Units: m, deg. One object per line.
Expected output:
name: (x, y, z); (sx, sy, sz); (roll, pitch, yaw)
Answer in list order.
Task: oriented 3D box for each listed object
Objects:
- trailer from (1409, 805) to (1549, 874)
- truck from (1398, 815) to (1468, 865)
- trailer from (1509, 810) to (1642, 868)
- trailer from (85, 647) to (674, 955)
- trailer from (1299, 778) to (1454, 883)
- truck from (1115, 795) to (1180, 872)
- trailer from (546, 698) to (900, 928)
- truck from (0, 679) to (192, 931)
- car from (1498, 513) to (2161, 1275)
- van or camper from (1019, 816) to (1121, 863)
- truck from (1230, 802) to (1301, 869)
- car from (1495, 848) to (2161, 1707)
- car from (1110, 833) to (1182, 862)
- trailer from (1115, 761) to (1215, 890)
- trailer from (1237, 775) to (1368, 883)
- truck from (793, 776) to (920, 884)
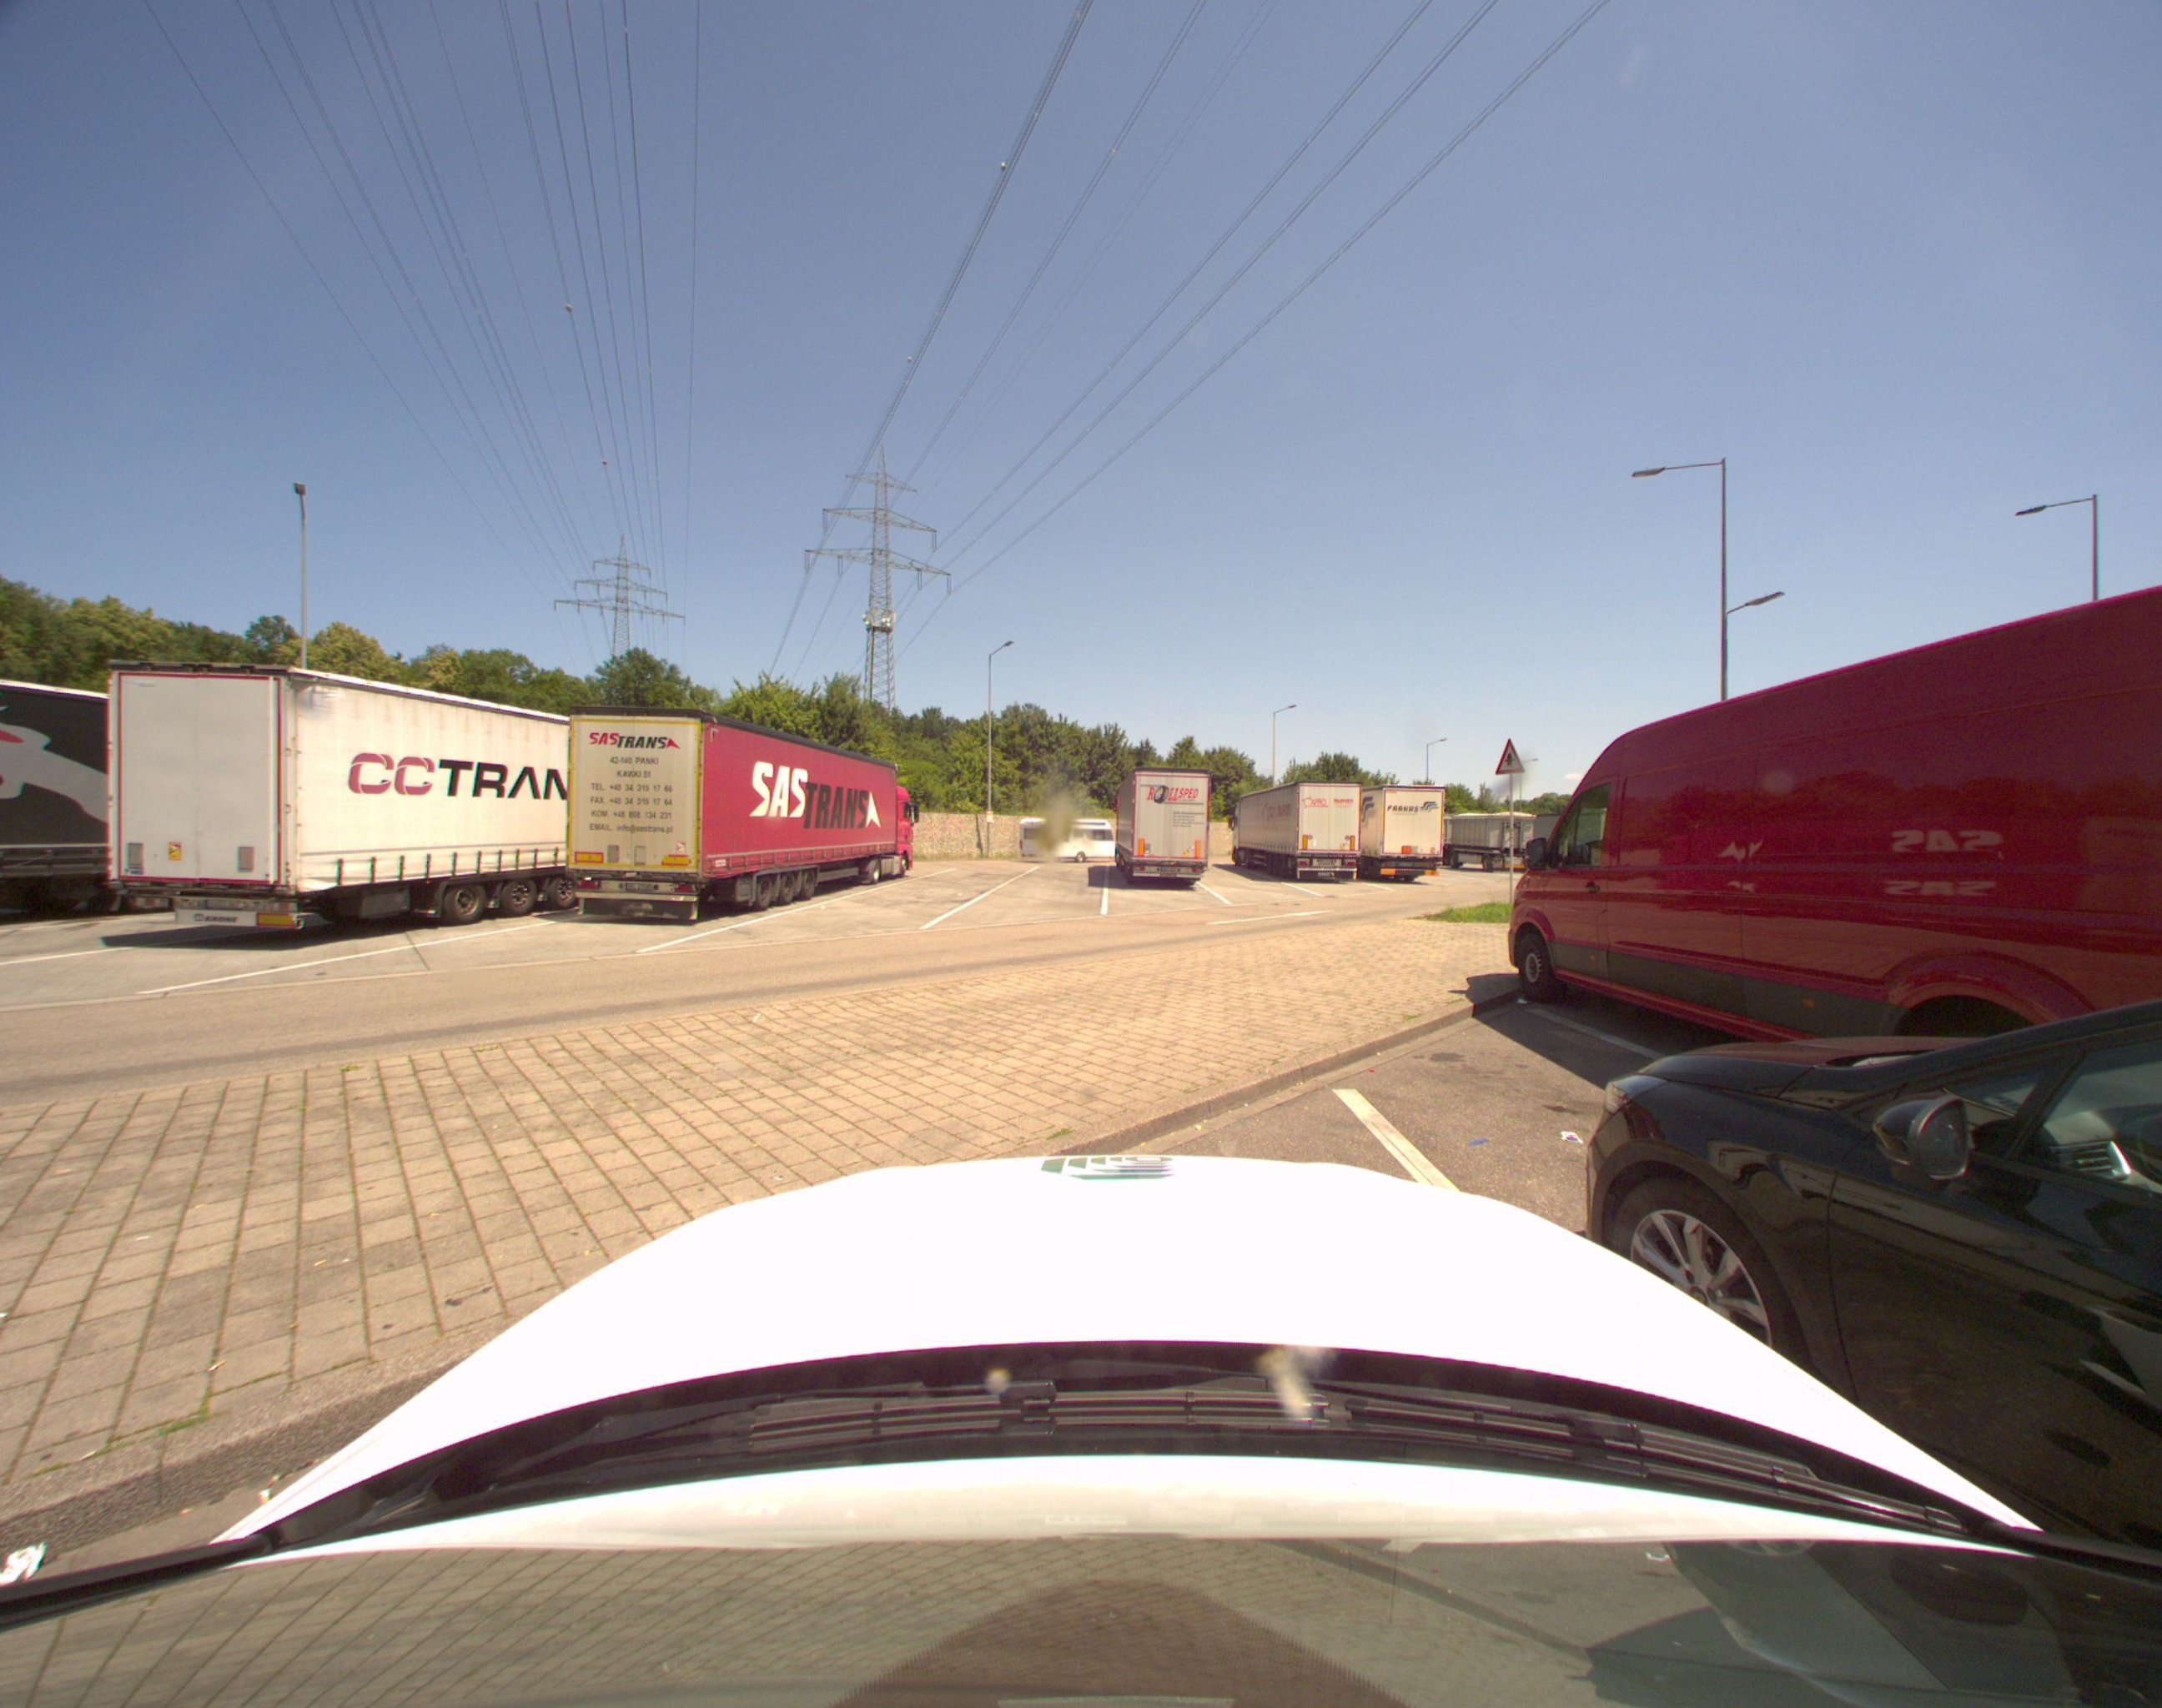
trailer: (24.529, -0.997, 51.442); (2.826, 3.717, 13.737); (1, 2, 3)
truck: (24.919, -1.008, 57.940); (2.840, 3.364, 5.488); (1, 1, 3)
trailer: (38.374, -1.223, 64.123); (2.826, 4.049, 13.737); (1, 2, 3)
trailer: (-12.212, -0.909, 16.323); (2.718, 4.209, 10.176); (1, 2, 2)
trailer: (13.608, -1.123, 39.277); (2.828, 4.132, 13.730); (1, 2, 2)
truck: (3.164, -1.003, 39.901); (2.841, 3.483, 5.486); (1, 1, 2)
trailer: (-8.046, -0.972, 21.651); (2.896, 4.131, 13.731); (1, 2, 2)
truck: (-18.588, -0.828, 13.560); (2.692, 4.016, 4.327); (1, 2, 2)
car: (5.150, 0.092, 5.482); (2.055, 2.695, 6.405); (-1, 1, 6)
van or camper: (-0.567, -0.852, 47.152); (5.880, 2.564, 2.245); (0, 2, -42)
truck: (10.160, -1.038, 45.425); (2.841, 3.483, 5.486); (1, 1, 2)
car: (2.506, 0.758, 1.173); (1.733, 1.482, 3.813); (-1, 1, -3)
car: (4.137, -0.410, 51.117); (4.535, 1.708, 1.766); (0, 3, -40)
trailer: (3.019, -1.113, 33.289); (2.896, 4.132, 13.727); (1, 2, 1)
trailer: (9.951, -1.160, 38.614); (2.828, 4.132, 13.730); (1, 2, 2)
truck: (-7.807, -0.857, 29.088); (2.841, 3.427, 5.486); (1, 1, 2)
